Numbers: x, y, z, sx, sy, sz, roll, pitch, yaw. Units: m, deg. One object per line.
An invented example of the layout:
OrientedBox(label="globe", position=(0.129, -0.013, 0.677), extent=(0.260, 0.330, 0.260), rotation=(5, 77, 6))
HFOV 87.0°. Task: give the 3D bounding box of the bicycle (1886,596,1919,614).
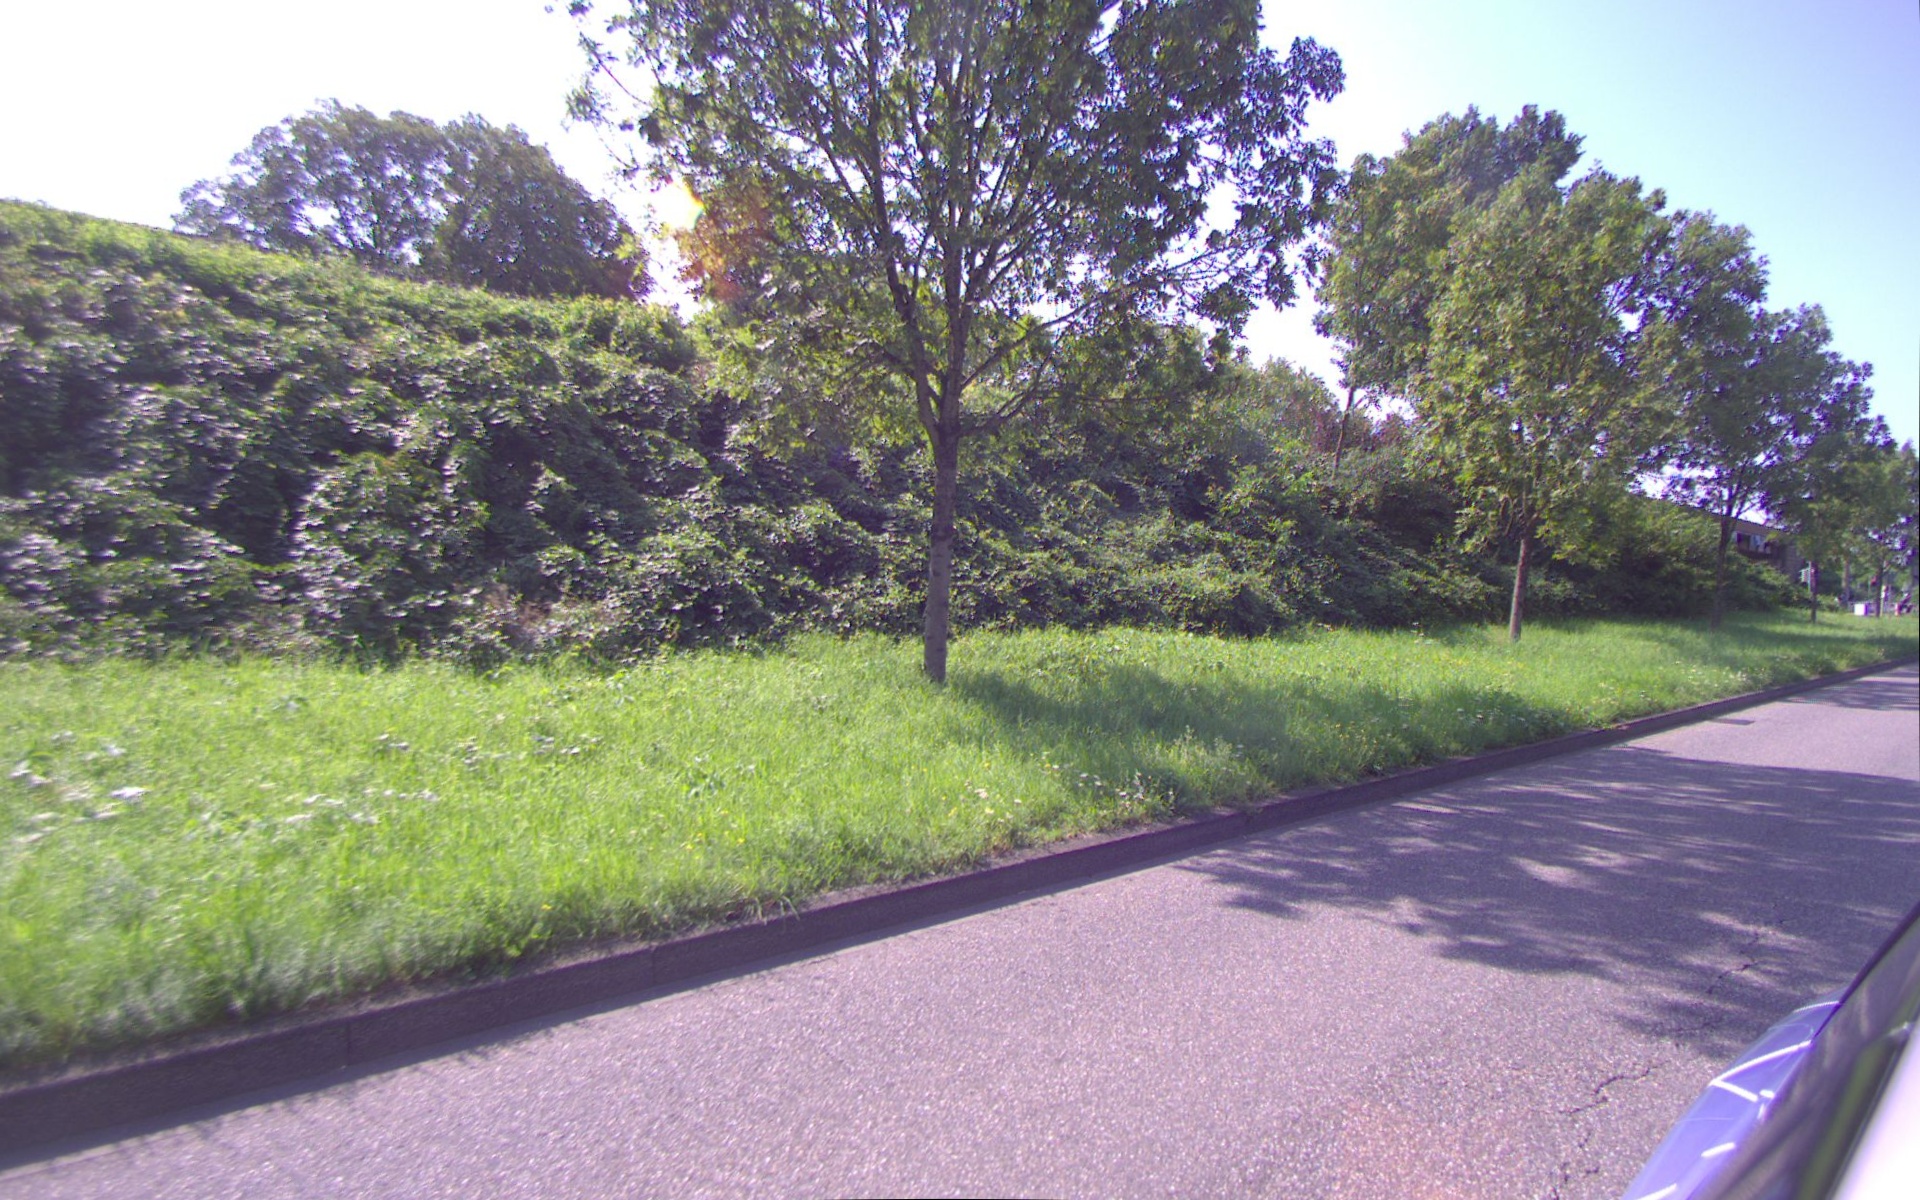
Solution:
OrientedBox(label="bicycle", position=(59.629, 0.344, 62.753), extent=(2.948, 1.062, 1.224), rotation=(3, 1, 26))

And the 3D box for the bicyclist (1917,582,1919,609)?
OrientedBox(label="bicyclist", position=(60.016, -0.261, 62.565), extent=(0.960, 1.679, 0.706), rotation=(2, 1, 25))
